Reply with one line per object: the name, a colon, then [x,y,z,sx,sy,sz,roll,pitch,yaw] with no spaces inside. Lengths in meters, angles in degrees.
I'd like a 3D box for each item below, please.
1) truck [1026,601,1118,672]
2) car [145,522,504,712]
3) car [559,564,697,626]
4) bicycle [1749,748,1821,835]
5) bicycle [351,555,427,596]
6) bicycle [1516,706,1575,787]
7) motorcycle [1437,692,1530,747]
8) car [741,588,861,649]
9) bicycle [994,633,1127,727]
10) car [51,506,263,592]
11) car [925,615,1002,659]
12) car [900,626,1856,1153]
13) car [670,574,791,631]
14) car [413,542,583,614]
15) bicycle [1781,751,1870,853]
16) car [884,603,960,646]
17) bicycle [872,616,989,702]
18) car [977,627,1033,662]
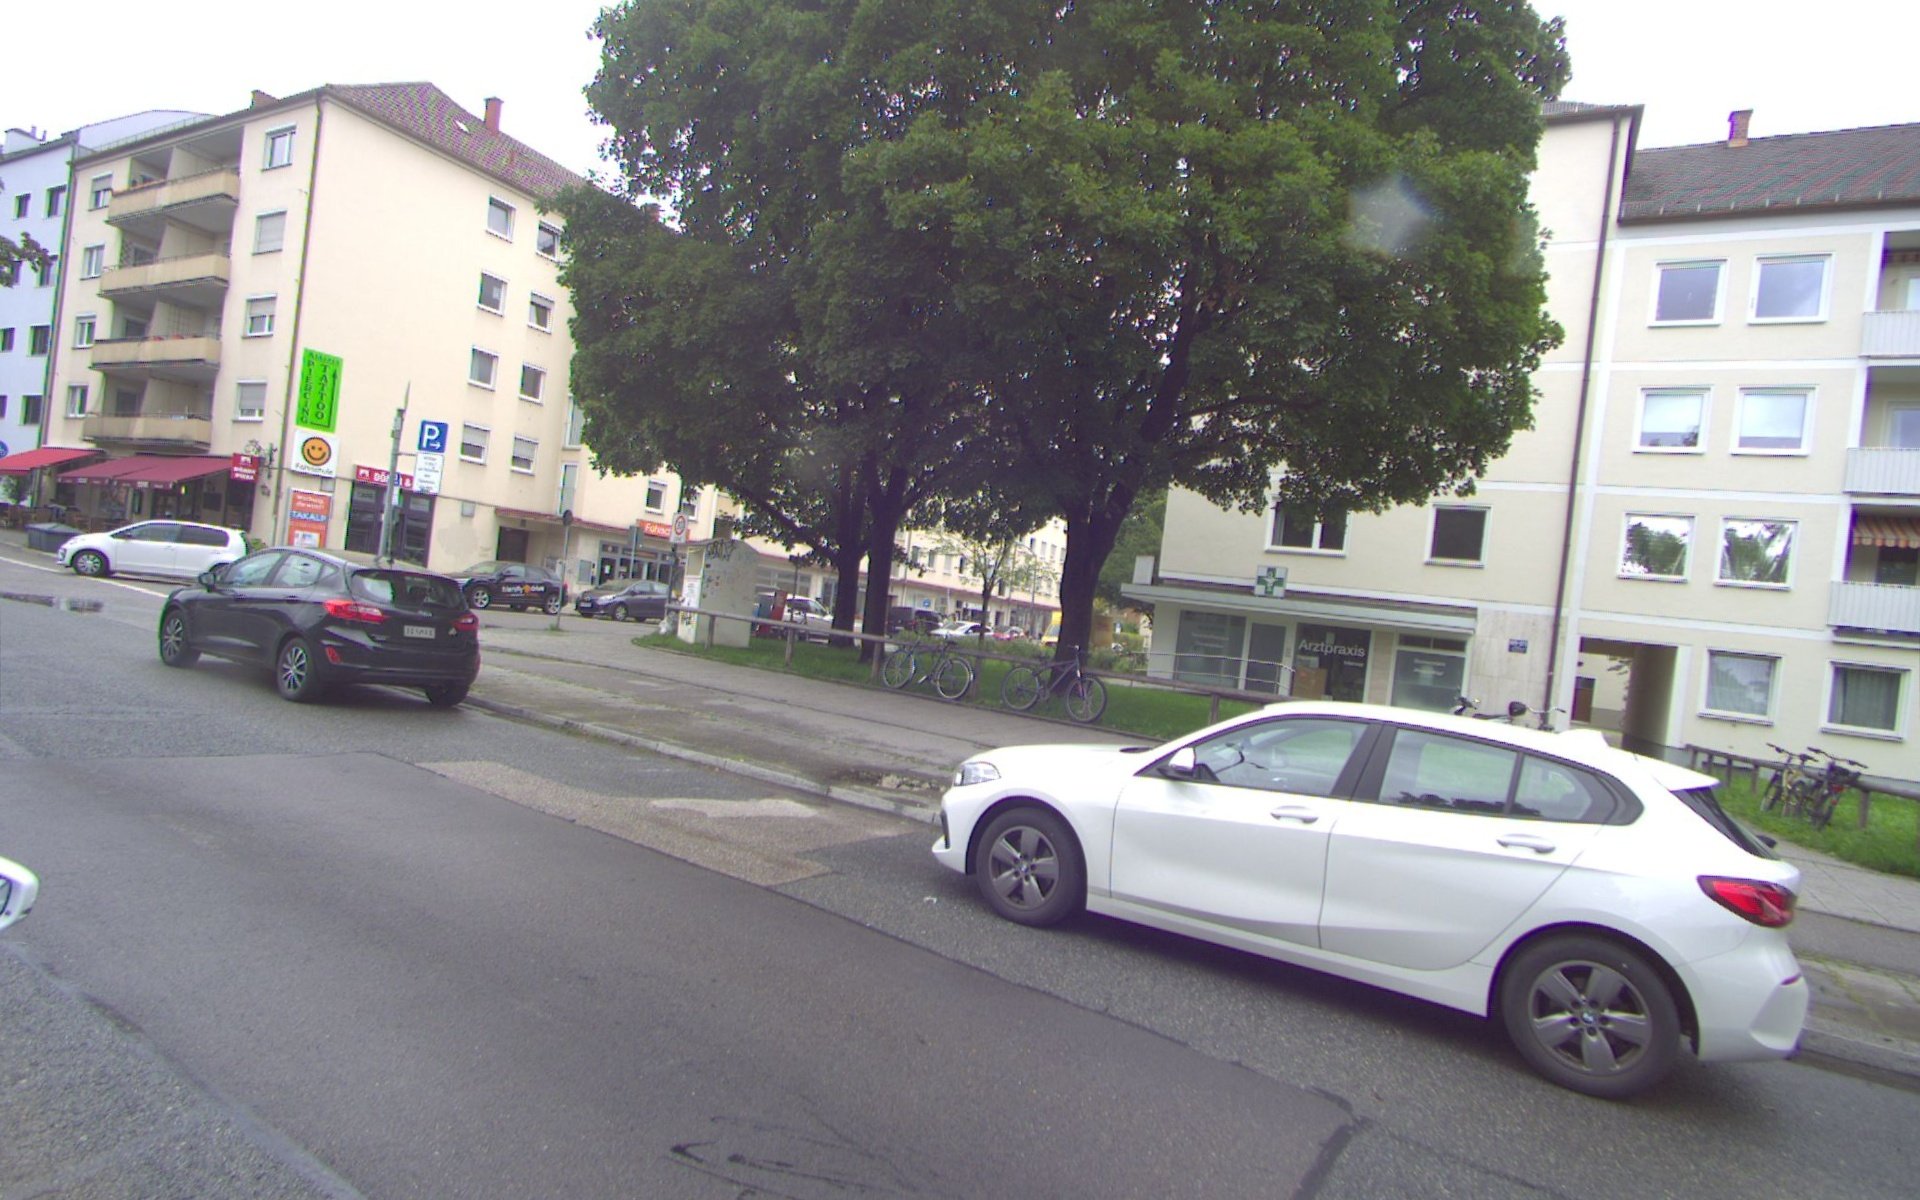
truck: [6.341,2.125,55.917,2.318,3.282,7.426,7,-2,27]
car: [-6.760,0.156,10.639,3.613,1.482,1.621,7,-3,31]
car: [-11.454,-0.121,35.022,1.839,1.681,4.401,7,0,28]
bicycle: [11.092,2.544,13.563,0.425,0.985,1.880,7,-2,32]
bicycle: [-16.814,-0.707,29.651,0.548,0.968,1.852,7,-2,30]
bicycle: [8.012,1.975,13.737,0.549,0.950,1.881,7,-2,32]
motorcycle: [12.772,2.898,24.562,1.875,1.035,0.605,6,-1,32]
car: [-5.735,0.714,36.787,1.839,1.680,4.403,9,-1,29]
bicycle: [1.450,1.155,14.765,1.852,1.116,0.382,6,-1,32]
car: [-18.386,-1.153,23.259,3.525,1.434,1.855,8,0,-33]
car: [0.260,1.903,51.125,1.839,1.679,4.740,7,-3,27]
car: [1.908,1.198,5.493,4.067,1.481,1.687,7,-3,30]
car: [-9.024,0.140,39.967,1.840,1.795,4.743,7,0,29]
car: [-13.991,-0.603,30.743,1.839,1.681,4.403,7,0,27]
bicycle: [10.118,2.327,11.813,0.425,0.985,1.880,7,-2,32]
car: [-1.949,1.329,53.364,1.839,1.679,4.751,7,-3,27]
bicycle: [-0.481,0.917,15.932,1.823,1.118,0.390,6,-1,32]
car: [2.862,2.825,63.003,1.839,1.679,4.089,7,-2,27]
